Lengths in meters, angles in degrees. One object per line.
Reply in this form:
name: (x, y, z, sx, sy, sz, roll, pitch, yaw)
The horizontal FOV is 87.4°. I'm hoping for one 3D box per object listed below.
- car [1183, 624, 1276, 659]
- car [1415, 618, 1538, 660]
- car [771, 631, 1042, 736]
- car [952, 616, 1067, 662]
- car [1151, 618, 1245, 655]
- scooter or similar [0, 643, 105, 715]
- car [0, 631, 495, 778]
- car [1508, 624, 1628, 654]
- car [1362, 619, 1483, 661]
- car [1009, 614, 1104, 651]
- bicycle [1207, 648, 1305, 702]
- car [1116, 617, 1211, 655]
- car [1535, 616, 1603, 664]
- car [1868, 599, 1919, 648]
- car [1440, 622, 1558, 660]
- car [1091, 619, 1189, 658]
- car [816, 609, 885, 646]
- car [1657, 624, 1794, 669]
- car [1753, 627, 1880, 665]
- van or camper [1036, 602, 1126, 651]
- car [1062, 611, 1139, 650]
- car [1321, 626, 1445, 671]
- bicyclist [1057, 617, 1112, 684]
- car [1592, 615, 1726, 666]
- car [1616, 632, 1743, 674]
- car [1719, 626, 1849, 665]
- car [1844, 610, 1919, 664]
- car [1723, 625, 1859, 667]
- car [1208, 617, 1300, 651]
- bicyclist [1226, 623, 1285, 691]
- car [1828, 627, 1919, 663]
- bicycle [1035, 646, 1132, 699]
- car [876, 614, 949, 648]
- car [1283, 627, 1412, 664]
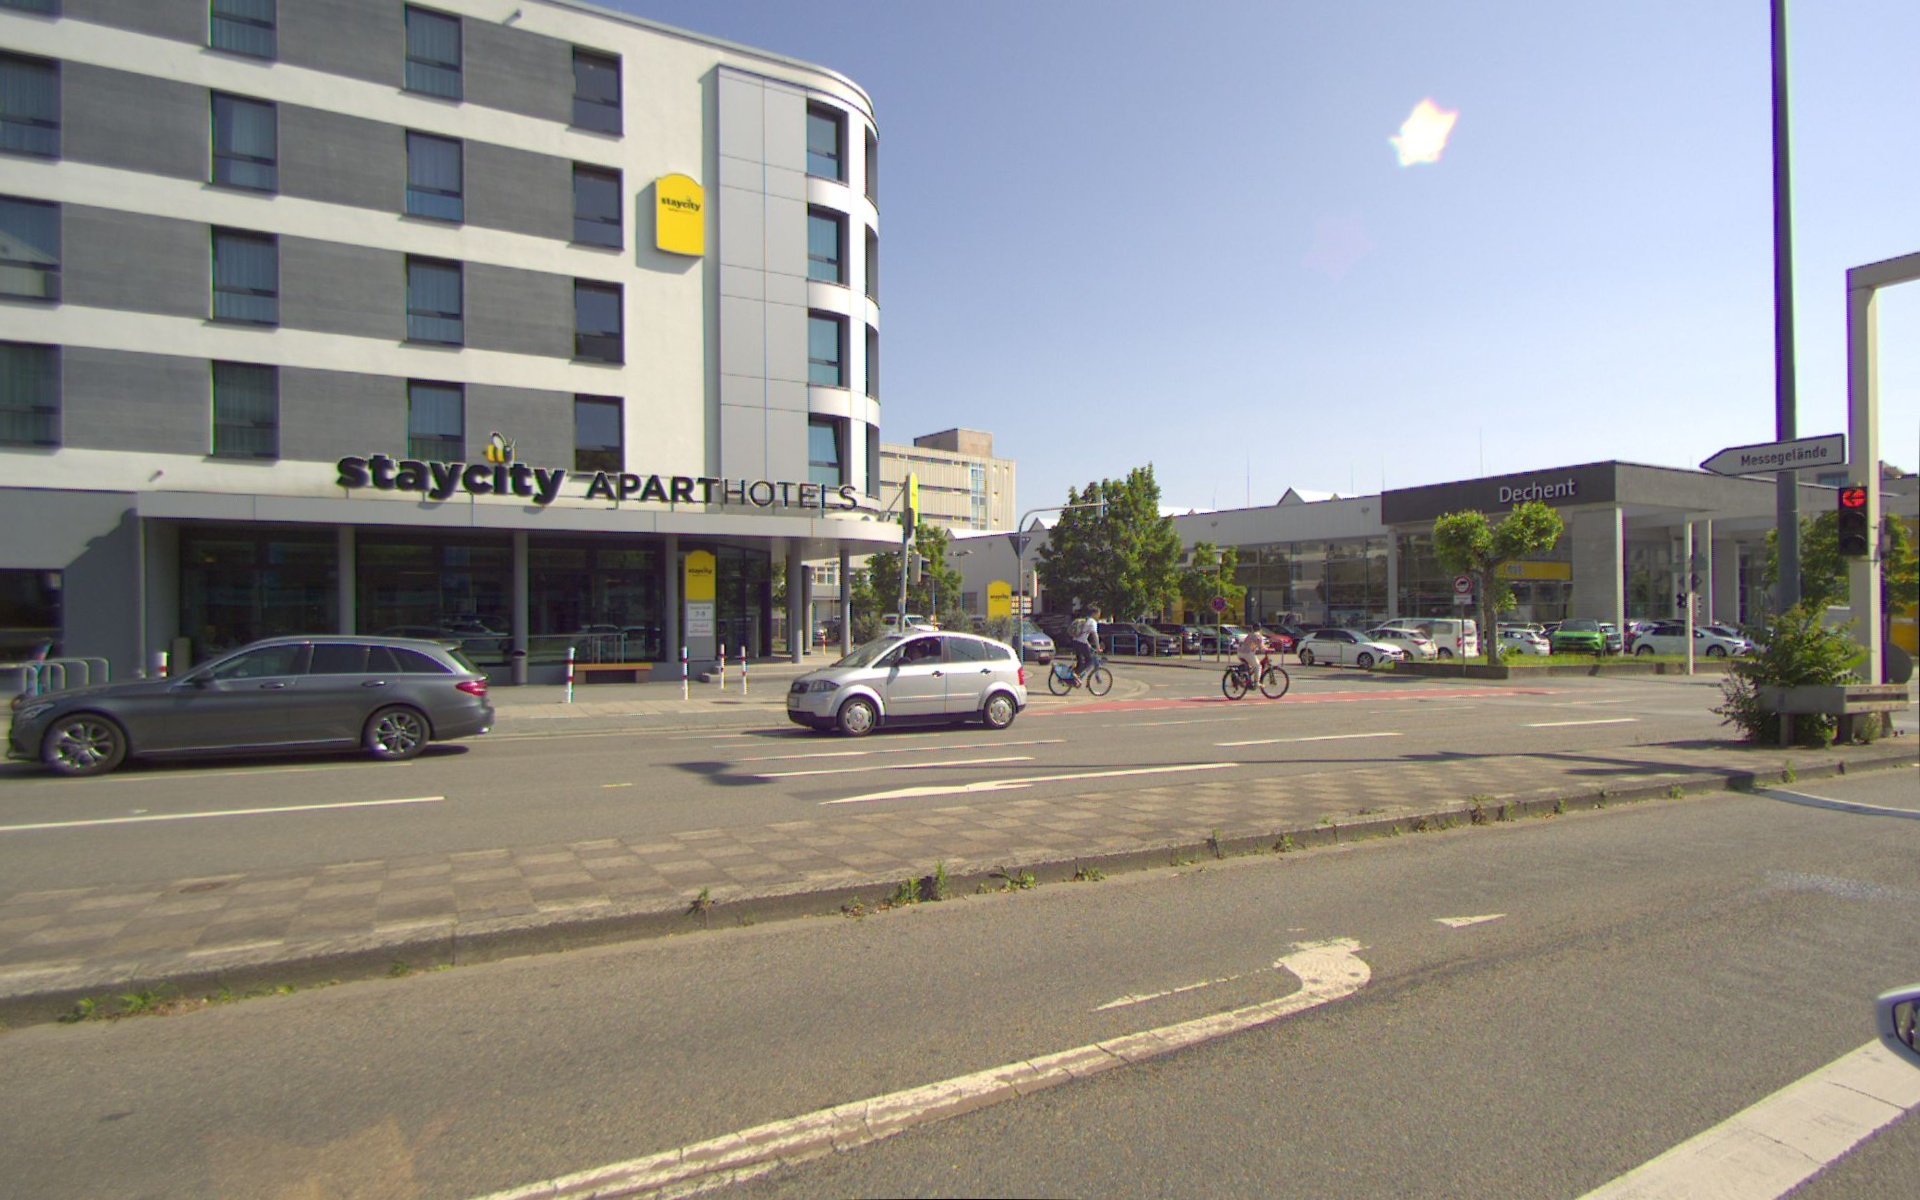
car: (13.670, 2.078, 51.151, 1.980, 1.719, 4.329, 1, -2, -35)
car: (22.271, 1.629, 43.413, 1.982, 1.719, 4.324, 1, -2, -38)
car: (-0.822, 1.247, 15.689, 3.867, 1.457, 1.765, 1, -3, -29)
car: (1.945, 1.554, 40.867, 1.984, 1.737, 4.773, 1, -2, -40)
car: (11.625, 1.770, 49.256, 1.980, 1.719, 4.329, 1, -2, -35)
scooter or similar: (-14.991, 1.285, 16.399, 1.499, 1.127, 0.349, 2, -1, -28)
car: (-8.030, 1.115, 11.847, 4.528, 1.446, 1.948, 1, -3, -28)
car: (27.713, 1.794, 45.907, 1.982, 1.284, 4.326, 4, -4, -37)
car: (19.734, 1.665, 43.022, 1.982, 1.719, 4.324, 1, -2, -38)
car: (4.762, 1.581, 49.730, 4.305, 1.719, 1.991, -1, -2, 40)
bicycle: (6.613, 1.647, 22.412, 2.131, 1.131, 0.766, 1, -1, -24)
car: (9.705, 1.695, 48.105, 1.980, 1.719, 4.329, 1, -2, -35)
car: (23.808, 1.572, 39.378, 1.870, 1.756, 3.293, 0, -3, 24)
car: (53.130, 1.298, 55.265, 1.972, 2.635, 4.345, 1, -1, -24)
car: (24.381, 1.831, 45.559, 1.982, 1.612, 4.325, 1, -2, -37)
car: (8.153, 1.716, 45.818, 1.980, 1.719, 4.329, 1, -2, -35)
car: (-6.930, 1.709, 63.327, 1.985, 2.158, 4.566, 2, 0, -41)
car: (32.684, 1.946, 43.021, 1.978, 1.789, 4.274, 1, -2, -32)
car: (41.485, 2.184, 48.752, 1.978, 1.719, 4.334, 1, -2, -32)
van or camper: (6.285, 1.376, 52.750, 1.982, 2.432, 4.679, 1, -2, -38)
car: (7.649, 1.651, 55.047, 1.983, 2.040, 3.956, 1, -2, -38)
car: (17.231, 1.951, 41.096, 1.980, 1.719, 4.329, 1, -2, -35)
bicyclist: (2.834, 1.141, 22.920, 1.013, 1.479, 0.765, 1, -1, -25)
car: (27.155, 1.538, 39.154, 1.978, 1.862, 3.850, 1, -2, -32)
car: (30.137, 2.171, 42.169, 1.981, 1.620, 3.959, 1, -1, -36)
car: (38.664, 2.087, 47.244, 1.978, 1.719, 4.334, 1, -2, -32)
car: (48.964, 1.885, 51.924, 2.096, 2.720, 4.491, 1, -1, -20)
car: (37.282, 2.034, 45.186, 1.978, 1.719, 4.334, 1, -1, -31)
car: (15.389, 1.776, 52.800, 1.982, 1.719, 4.325, 1, -2, -37)
bicyclist: (6.582, 1.249, 22.376, 1.013, 1.479, 0.766, 1, -1, -24)
car: (46.888, 2.242, 50.669, 1.976, 1.719, 4.338, 1, -1, -29)
bicycle: (2.814, 1.631, 22.907, 2.133, 1.131, 0.765, 1, -1, -26)
car: (-2.809, 1.785, 59.082, 1.970, 1.815, 4.377, 2, 0, -41)
car: (14.891, 1.712, 38.829, 1.980, 1.317, 4.329, 1, -2, -35)
